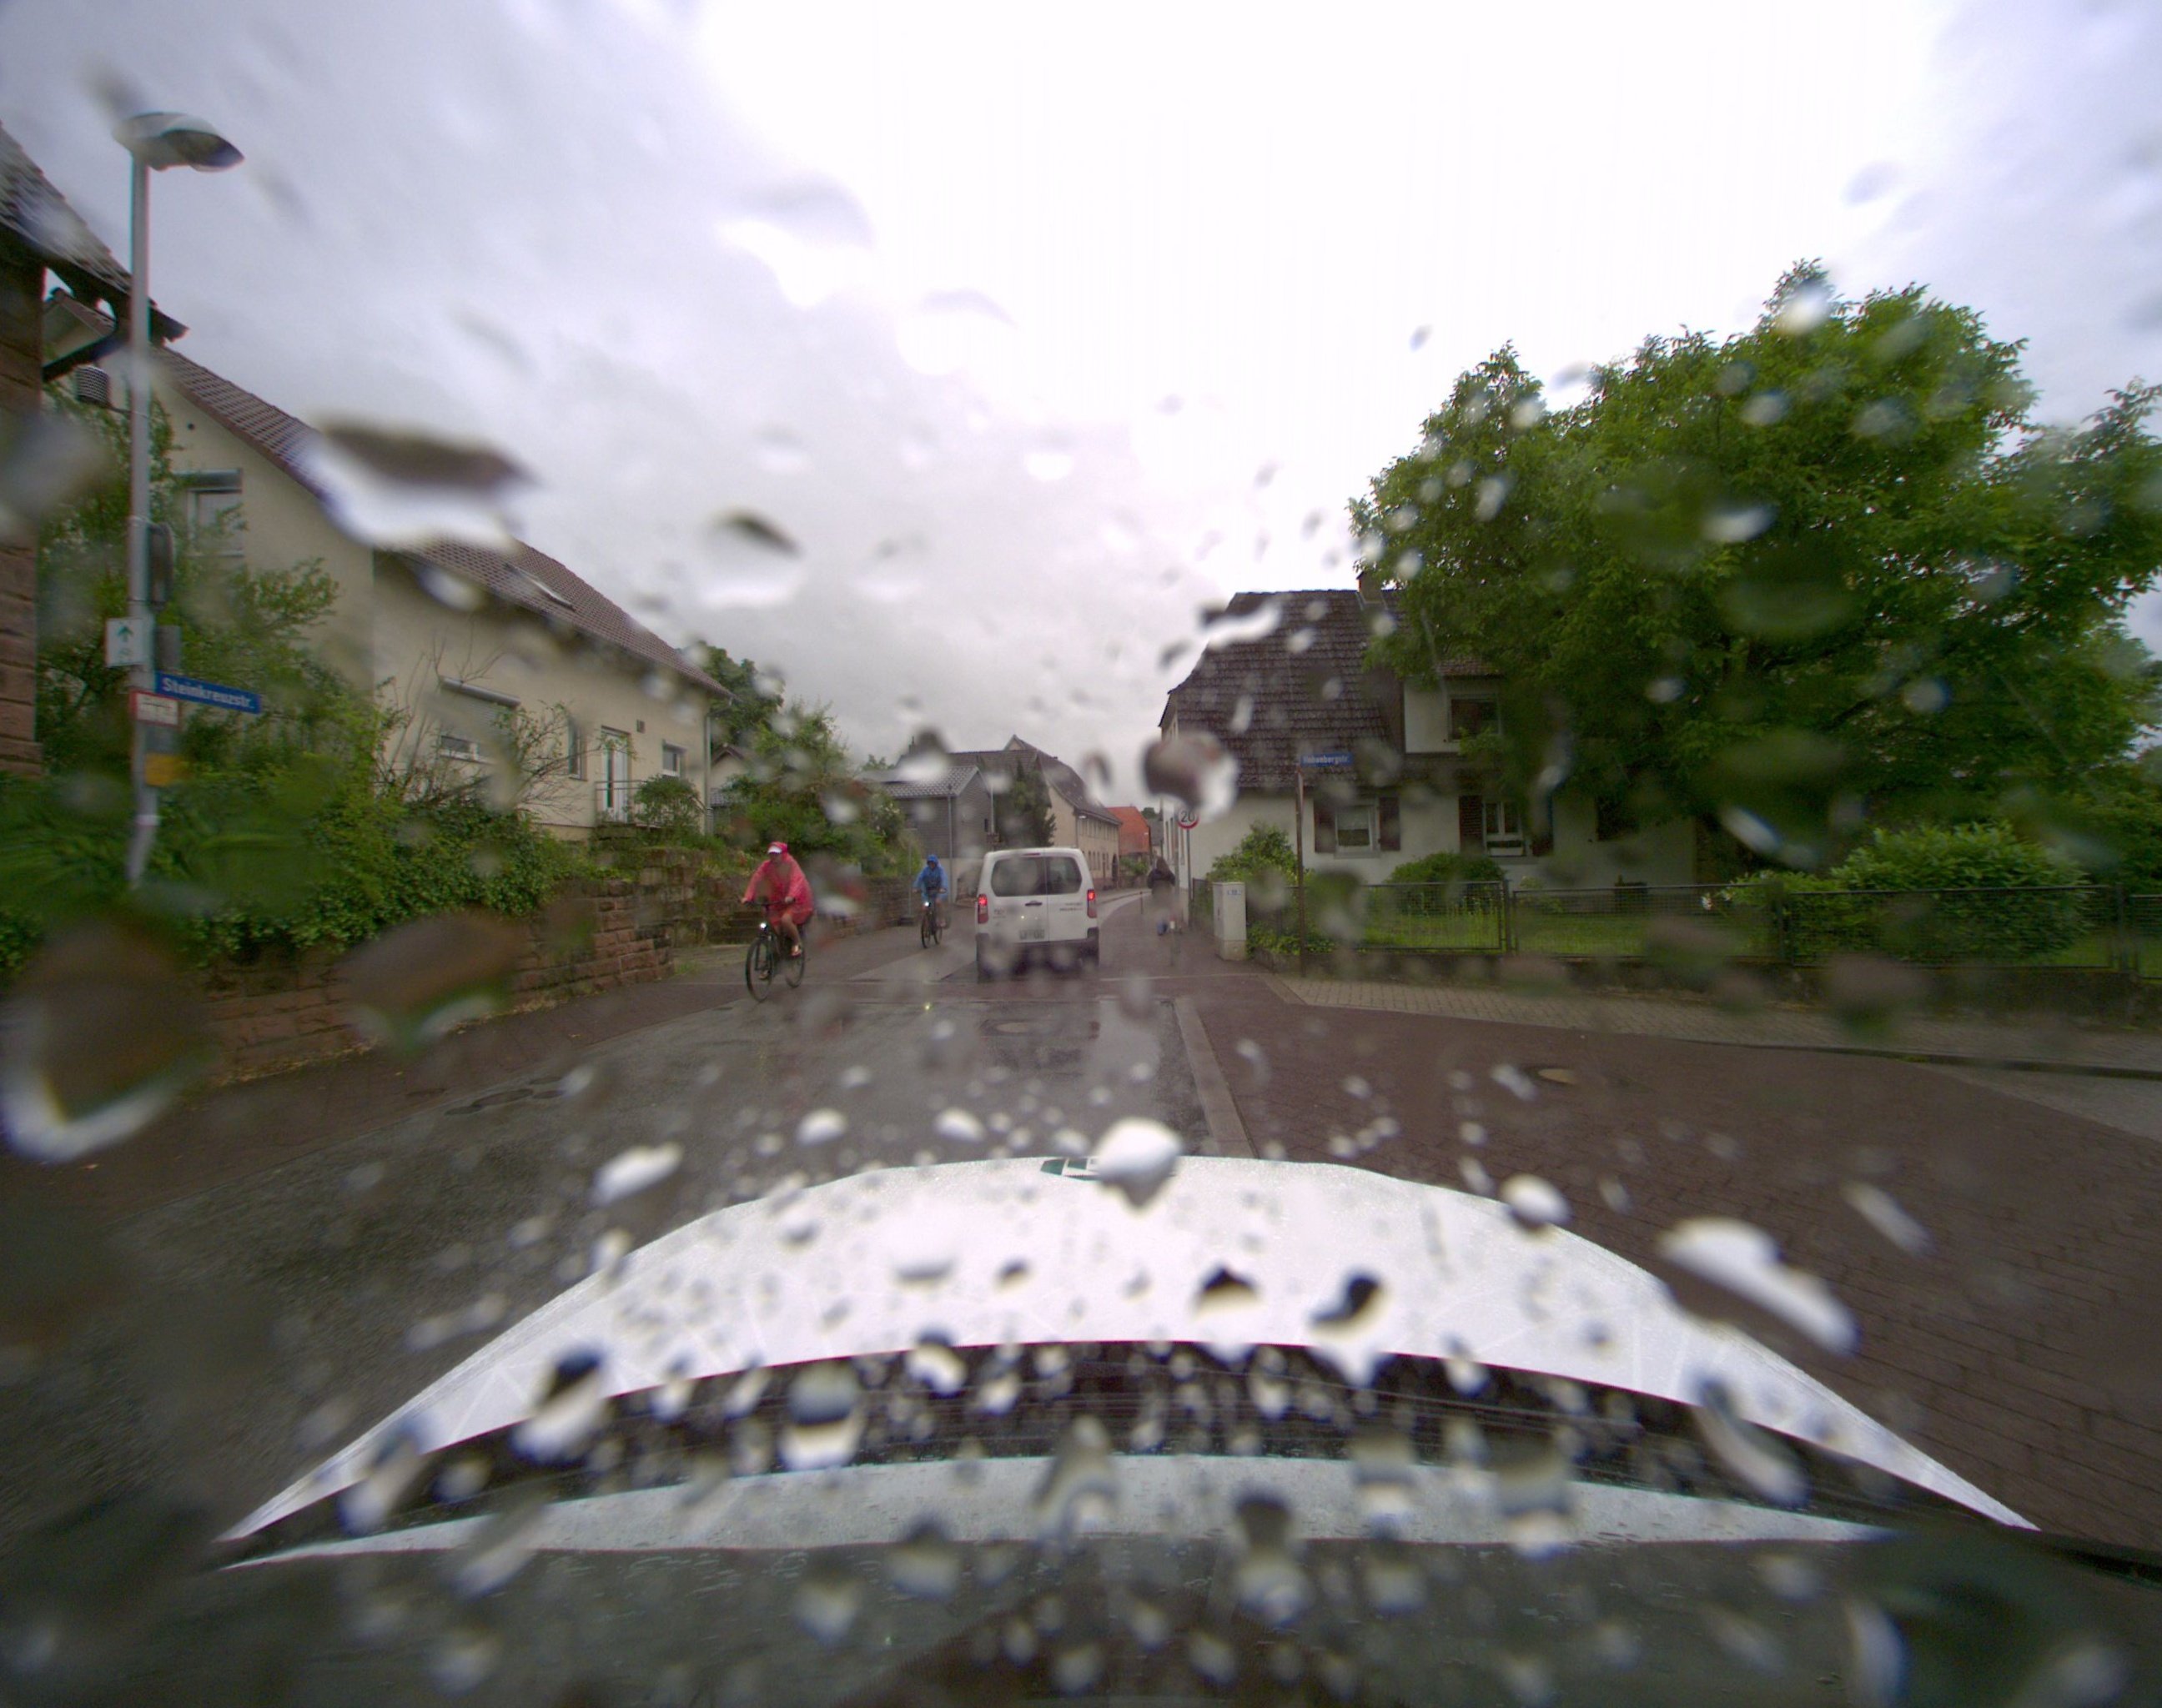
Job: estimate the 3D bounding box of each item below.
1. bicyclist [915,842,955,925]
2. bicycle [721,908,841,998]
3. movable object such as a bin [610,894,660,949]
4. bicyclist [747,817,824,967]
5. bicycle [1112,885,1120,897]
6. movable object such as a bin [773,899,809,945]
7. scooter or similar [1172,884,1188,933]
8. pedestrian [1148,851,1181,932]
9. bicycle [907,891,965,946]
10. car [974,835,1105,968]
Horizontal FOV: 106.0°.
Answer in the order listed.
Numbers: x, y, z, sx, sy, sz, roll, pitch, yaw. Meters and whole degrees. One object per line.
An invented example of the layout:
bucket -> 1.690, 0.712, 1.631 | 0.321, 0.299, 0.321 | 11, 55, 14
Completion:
bicyclist -> -3.057, 0.629, 17.109 | 0.684, 1.713, 0.704 | 0, -3, 3
bicycle -> -3.591, 1.151, 9.954 | 0.658, 0.870, 1.936 | 0, 0, 3
movable object such as a bin -> -9.094, 1.361, 16.623 | 0.619, 1.063, 0.656 | 0, 0, 4
bicyclist -> -3.587, 0.450, 9.945 | 0.654, 1.770, 0.704 | 0, -1, 3
bicycle -> 3.515, 3.736, 82.282 | 0.479, 1.180, 1.842 | -1, -3, 14
movable object such as a bin -> -5.998, 1.404, 16.858 | 0.536, 0.930, 0.544 | 0, -3, 0
scooter or similar -> 2.170, 1.170, 17.869 | 0.244, 1.028, 1.101 | 0, -2, 2
pedestrian -> 1.829, 0.823, 17.929 | 0.691, 1.733, 0.821 | 0, -2, 3
bicycle -> -3.013, 1.322, 17.199 | 0.678, 1.051, 2.340 | 0, -2, 3
car -> -0.822, 0.764, 13.297 | 1.793, 1.819, 4.090 | 1, -3, -7
